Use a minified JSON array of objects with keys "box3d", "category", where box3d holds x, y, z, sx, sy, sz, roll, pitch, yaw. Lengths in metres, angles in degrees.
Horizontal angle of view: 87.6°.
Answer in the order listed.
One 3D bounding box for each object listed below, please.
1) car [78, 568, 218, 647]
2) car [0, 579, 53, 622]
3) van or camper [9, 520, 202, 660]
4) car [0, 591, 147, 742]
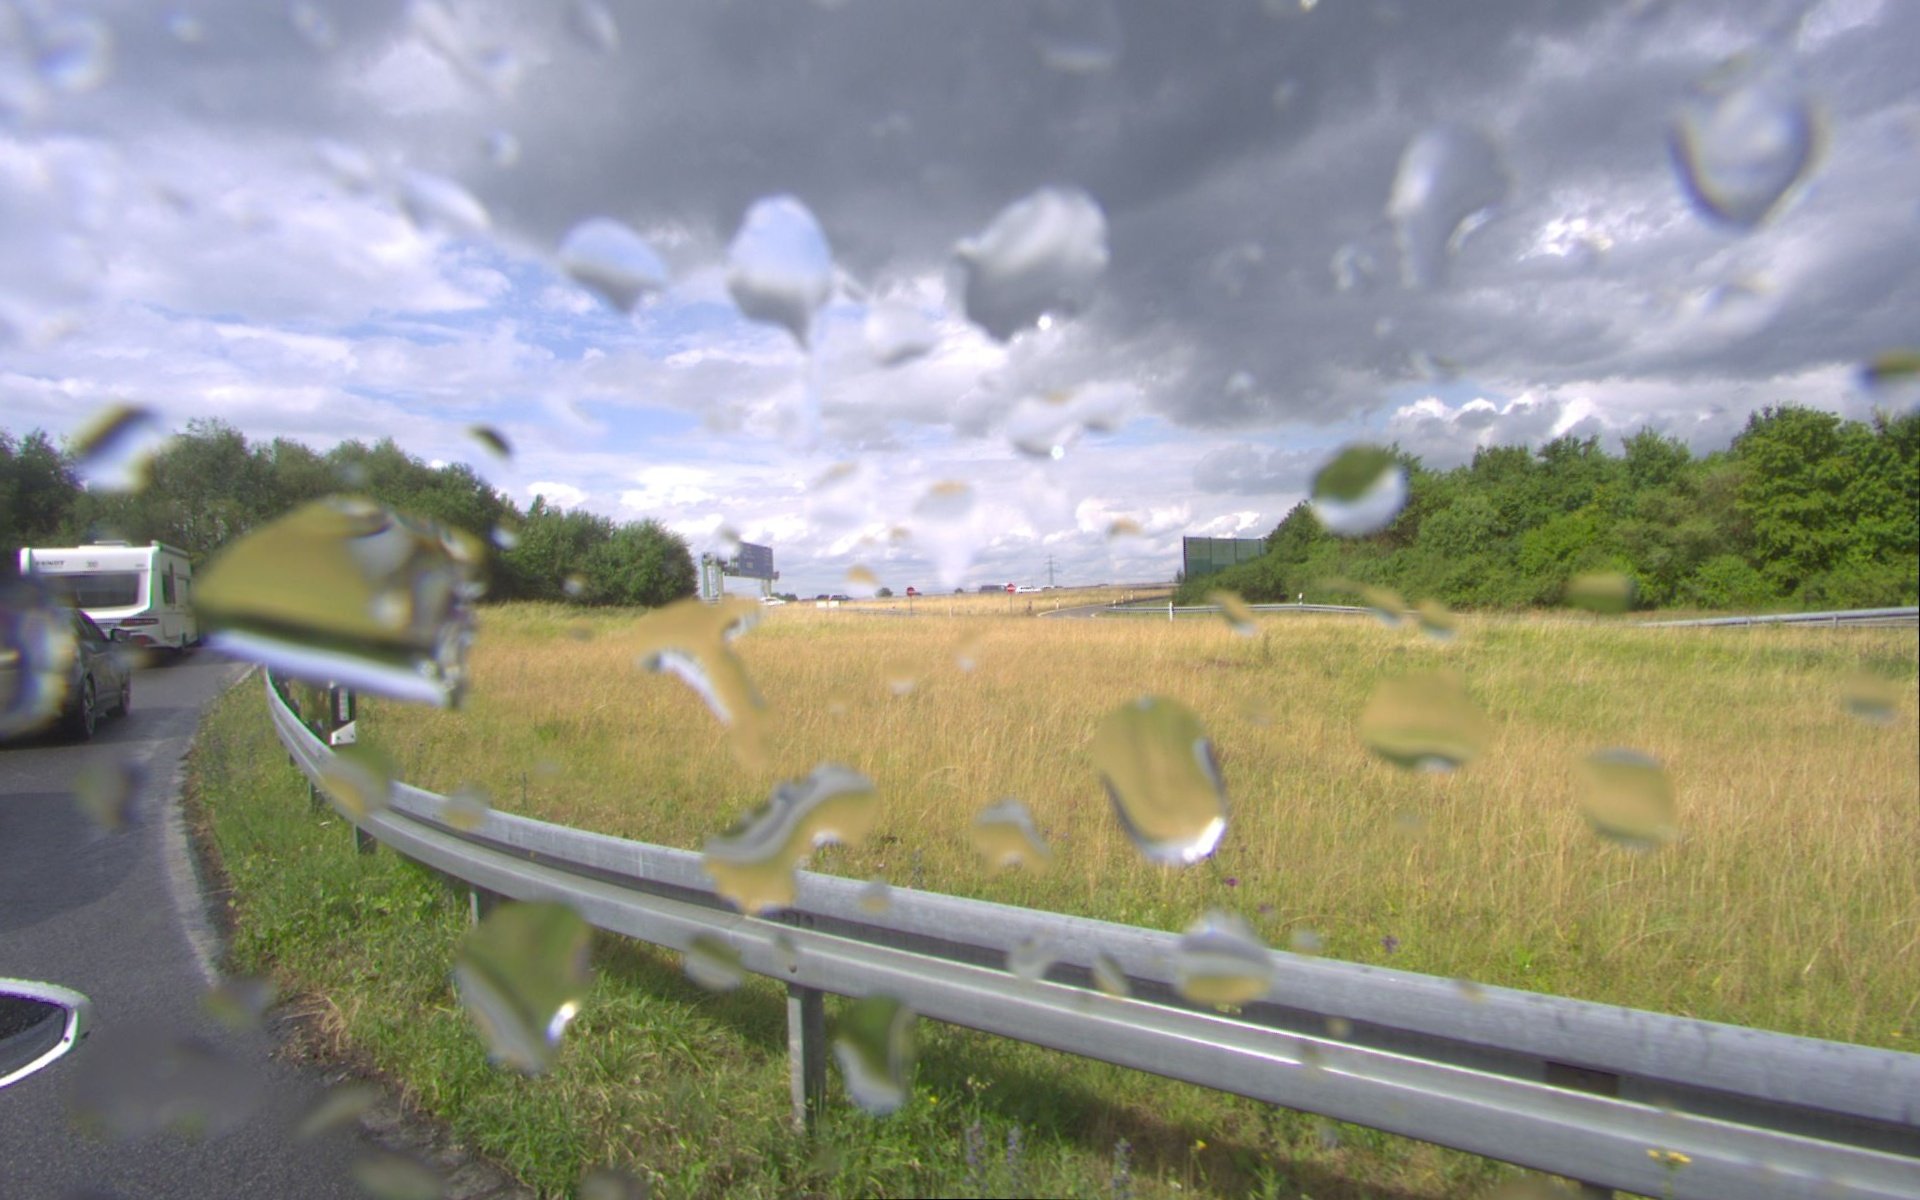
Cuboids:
[{"box3d":[-22.429,0.124,27.926,2.404,1.952,5.722,0,2,-33],"category":"car"},{"box3d":[-44.900,0.030,46.551,4.971,1.887,1.993,-1,3,22],"category":"car"},{"box3d":[-19.325,-0.170,23.001,2.404,2.765,5.967,0,0,-31],"category":"van or camper"},{"box3d":[-11.173,0.717,11.978,1.700,1.545,3.976,-3,1,-32],"category":"car"}]
